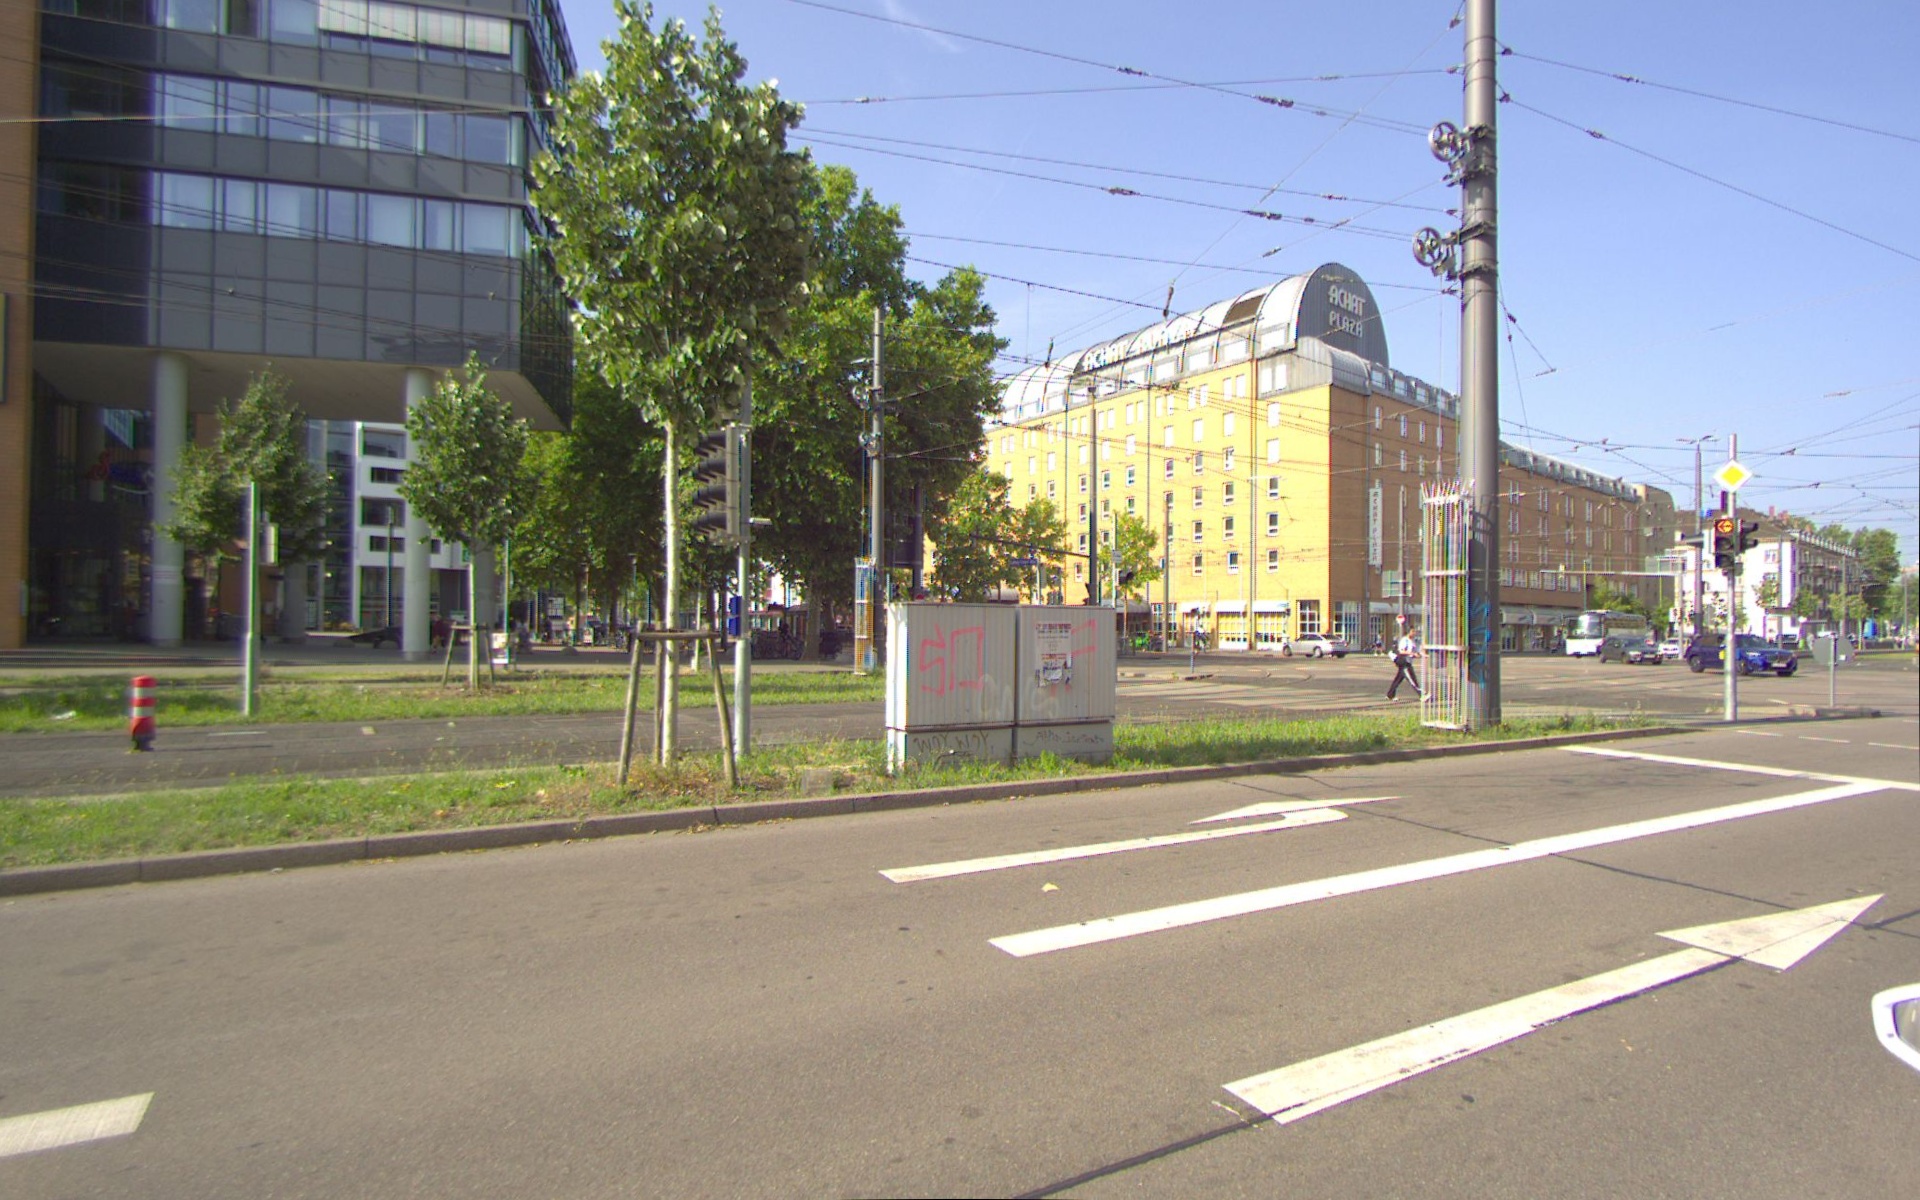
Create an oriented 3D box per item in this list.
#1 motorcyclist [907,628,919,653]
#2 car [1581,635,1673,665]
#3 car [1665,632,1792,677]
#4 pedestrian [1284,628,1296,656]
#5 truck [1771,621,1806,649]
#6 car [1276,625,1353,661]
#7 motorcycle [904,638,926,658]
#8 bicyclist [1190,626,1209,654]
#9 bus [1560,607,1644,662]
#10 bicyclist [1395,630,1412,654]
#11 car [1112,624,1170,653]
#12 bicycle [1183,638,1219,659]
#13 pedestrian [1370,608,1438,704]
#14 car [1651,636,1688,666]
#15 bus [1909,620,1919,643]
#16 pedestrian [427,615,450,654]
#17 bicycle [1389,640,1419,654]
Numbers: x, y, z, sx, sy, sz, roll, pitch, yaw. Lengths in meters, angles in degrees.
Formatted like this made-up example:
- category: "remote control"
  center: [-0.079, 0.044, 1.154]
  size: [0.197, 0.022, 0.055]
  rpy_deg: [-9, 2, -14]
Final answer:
- category: "motorcyclist"
  center: [-2.529, 2.174, 54.308]
  size: [0.414, 1.339, 0.527]
  rpy_deg: [3, -2, -37]
- category: "car"
  center: [35.278, 2.625, 53.257]
  size: [1.961, 1.506, 4.221]
  rpy_deg: [2, -2, -2]
- category: "car"
  center: [30.384, 2.138, 39.895]
  size: [1.952, 1.657, 4.417]
  rpy_deg: [2, -2, 6]
- category: "pedestrian"
  center: [23.179, 2.964, 70.625]
  size: [0.735, 1.978, 0.884]
  rpy_deg: [0, -1, 22]
- category: "truck"
  center: [80.645, 3.426, 97.793]
  size: [4.706, 2.633, 1.975]
  rpy_deg: [2, -2, -42]
- category: "car"
  center: [21.354, 2.549, 60.678]
  size: [1.970, 2.040, 4.595]
  rpy_deg: [1, -1, -20]
- category: "motorcycle"
  center: [-2.418, 2.569, 54.144]
  size: [0.281, 1.008, 1.677]
  rpy_deg: [3, -3, -37]
- category: "bicyclist"
  center: [15.324, 2.537, 64.214]
  size: [0.952, 1.769, 0.664]
  rpy_deg: [2, -2, -17]
- category: "bus"
  center: [51.016, 2.847, 79.600]
  size: [12.133, 3.972, 2.720]
  rpy_deg: [4, -3, -43]
- category: "bicyclist"
  center: [32.172, 3.054, 72.859]
  size: [0.666, 1.717, 0.976]
  rpy_deg: [4, -3, -45]
- category: "car"
  center: [13.376, 2.841, 74.462]
  size: [1.982, 2.040, 3.957]
  rpy_deg: [3, -3, -37]
- category: "bicycle"
  center: [15.433, 3.097, 64.241]
  size: [2.251, 1.222, 0.548]
  rpy_deg: [3, -2, -18]
- category: "pedestrian"
  center: [9.744, 1.206, 22.042]
  size: [0.771, 2.040, 1.144]
  rpy_deg: [3, -3, -43]
- category: "car"
  center: [49.855, 3.584, 70.572]
  size: [2.709, 2.040, 1.587]
  rpy_deg: [4, -3, -41]
- category: "bus"
  center: [86.250, 2.805, 89.583]
  size: [3.969, 2.040, 1.976]
  rpy_deg: [2, -1, -41]
- category: "pedestrian"
  center: [-21.202, 1.402, 40.848]
  size: [0.651, 1.563, 0.617]
  rpy_deg: [1, -1, -12]
- category: "bicycle"
  center: [32.184, 3.422, 72.833]
  size: [0.417, 0.982, 1.940]
  rpy_deg: [4, -3, -45]
